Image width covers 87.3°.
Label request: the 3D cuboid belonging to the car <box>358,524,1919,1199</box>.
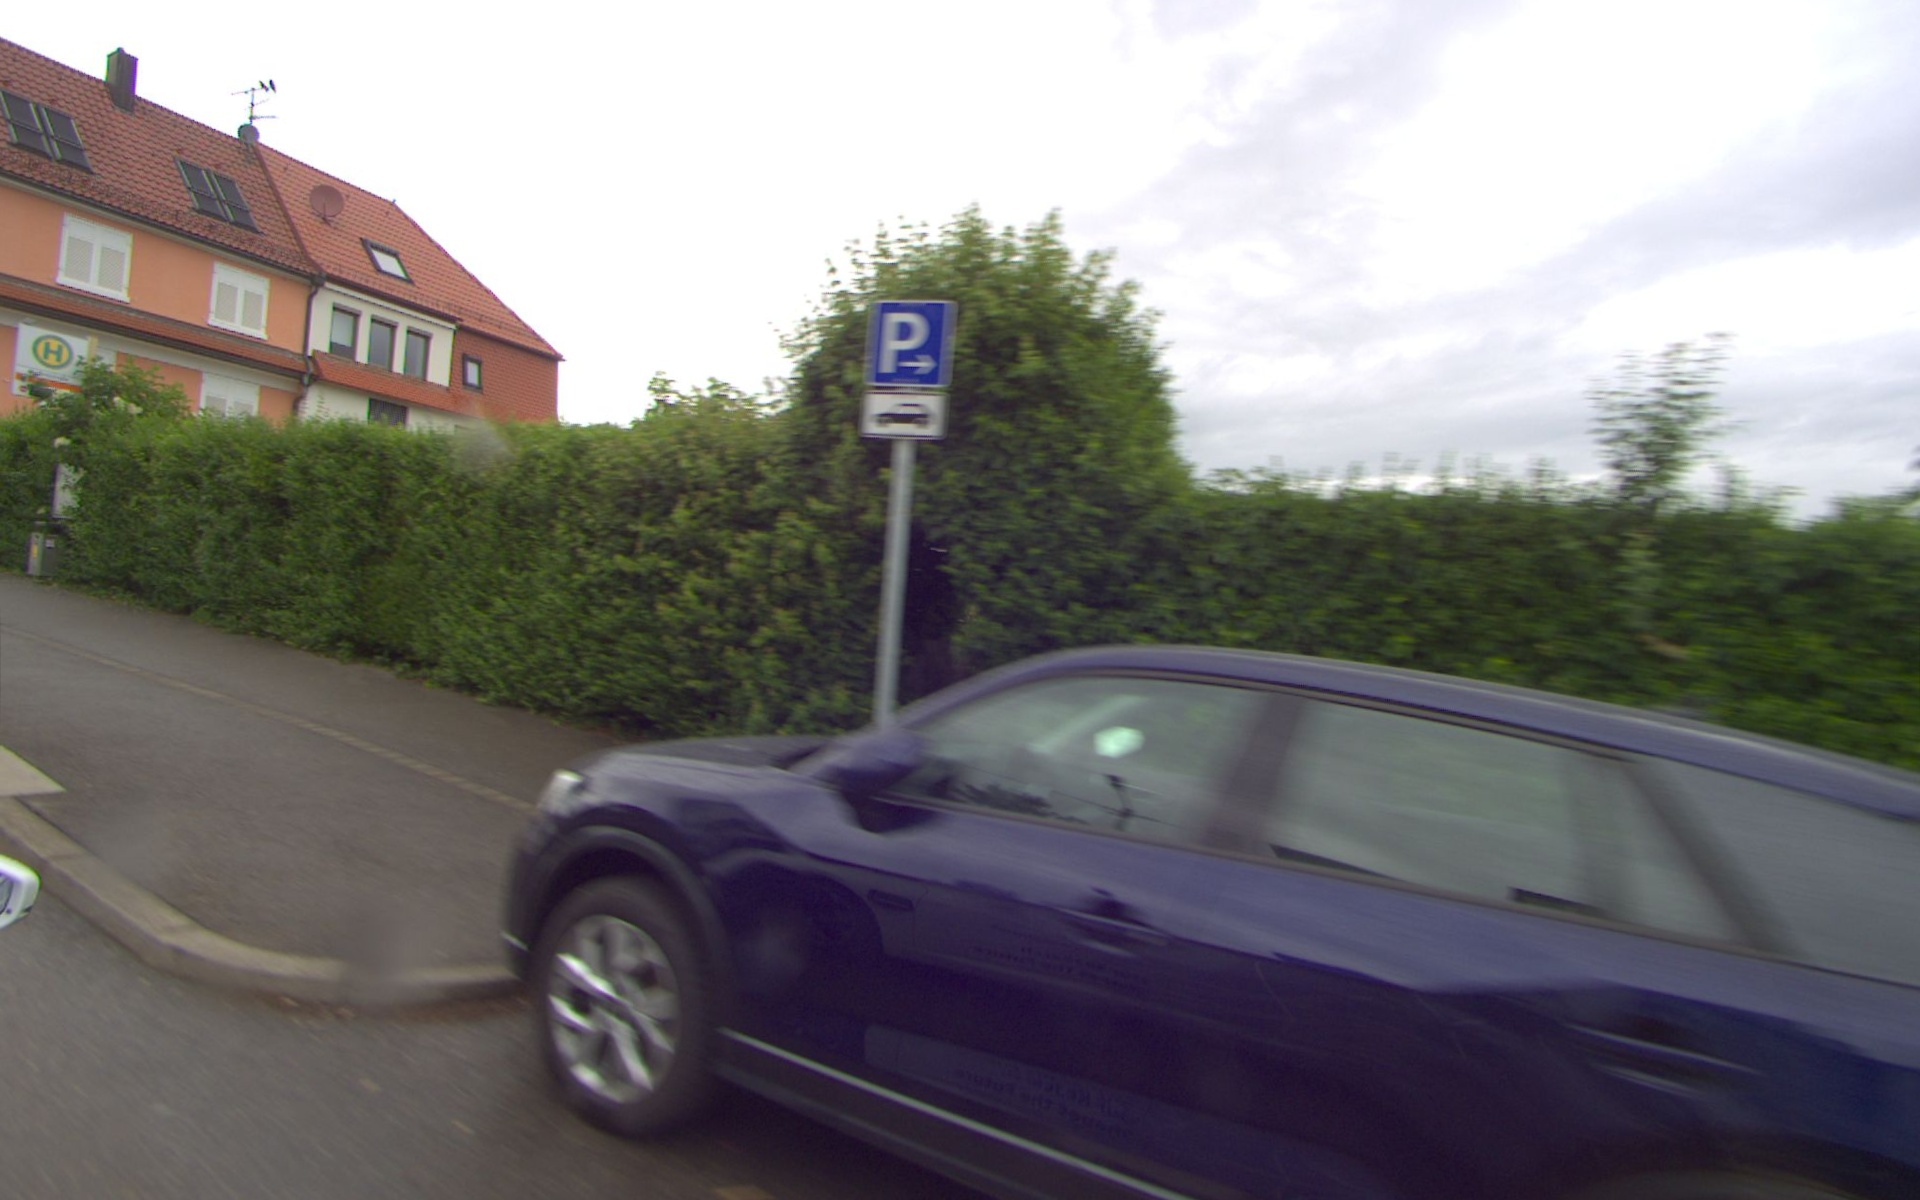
[{"bbox_3d":[0.440,0.825,2.870,4.133,1.549,1.757,7,0,29],"label":"car"}]
